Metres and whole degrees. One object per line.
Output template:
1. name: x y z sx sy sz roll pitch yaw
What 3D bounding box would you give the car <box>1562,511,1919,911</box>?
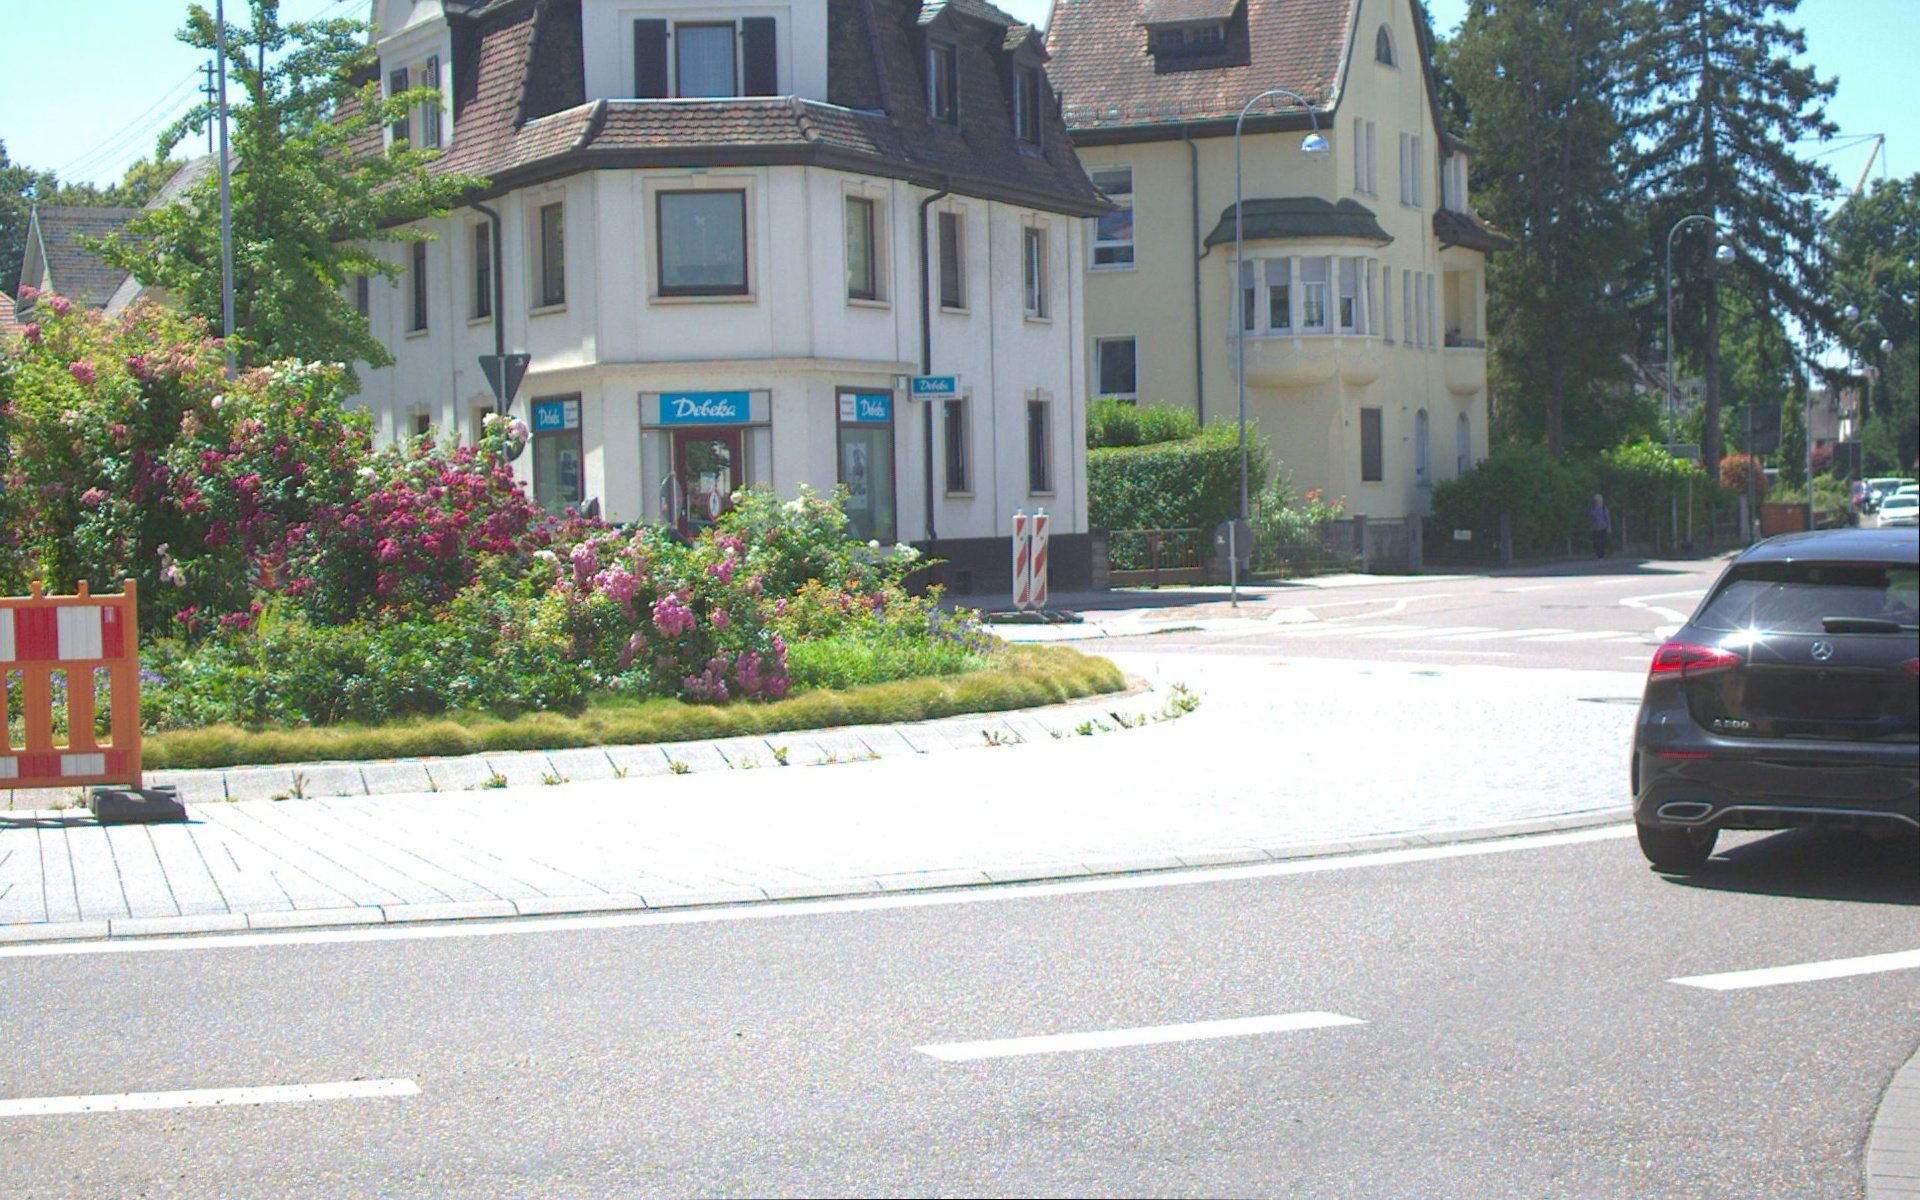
1. car: 4.251 0.373 14.919 1.957 1.422 3.994 1 3 30

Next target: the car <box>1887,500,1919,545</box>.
1. car: 35.619 -2.898 127.758 1.995 1.645 3.997 0 1 18

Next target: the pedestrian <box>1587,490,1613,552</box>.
1. pedestrian: 15.600 -1.921 83.799 0.523 1.504 0.472 0 1 26
